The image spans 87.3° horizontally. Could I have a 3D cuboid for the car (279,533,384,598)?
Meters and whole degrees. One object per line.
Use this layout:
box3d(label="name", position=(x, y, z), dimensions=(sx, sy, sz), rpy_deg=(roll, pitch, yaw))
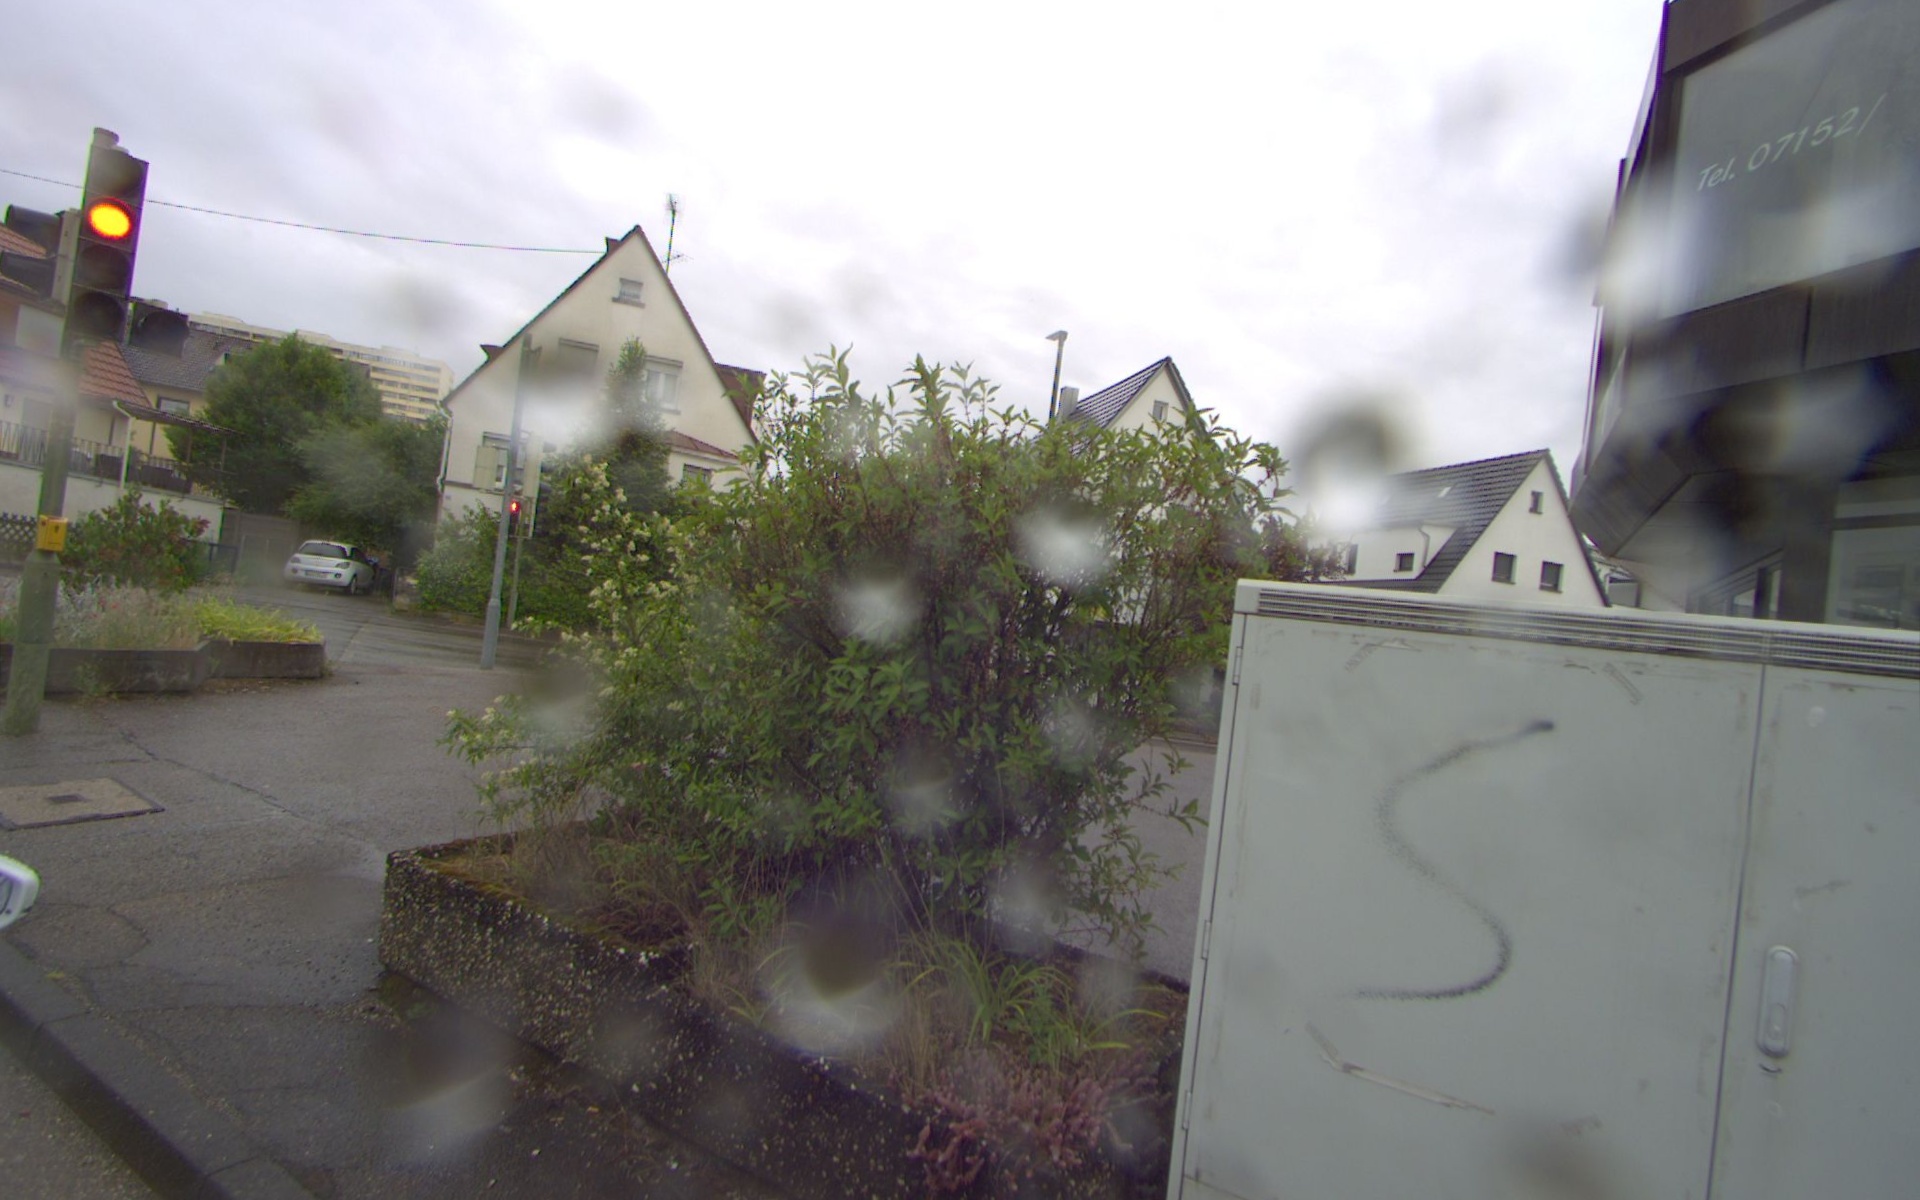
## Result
box3d(label="car", position=(-18.509, -0.990, 29.808), dimensions=(1.722, 1.532, 3.982), rpy_deg=(9, -2, -21))
